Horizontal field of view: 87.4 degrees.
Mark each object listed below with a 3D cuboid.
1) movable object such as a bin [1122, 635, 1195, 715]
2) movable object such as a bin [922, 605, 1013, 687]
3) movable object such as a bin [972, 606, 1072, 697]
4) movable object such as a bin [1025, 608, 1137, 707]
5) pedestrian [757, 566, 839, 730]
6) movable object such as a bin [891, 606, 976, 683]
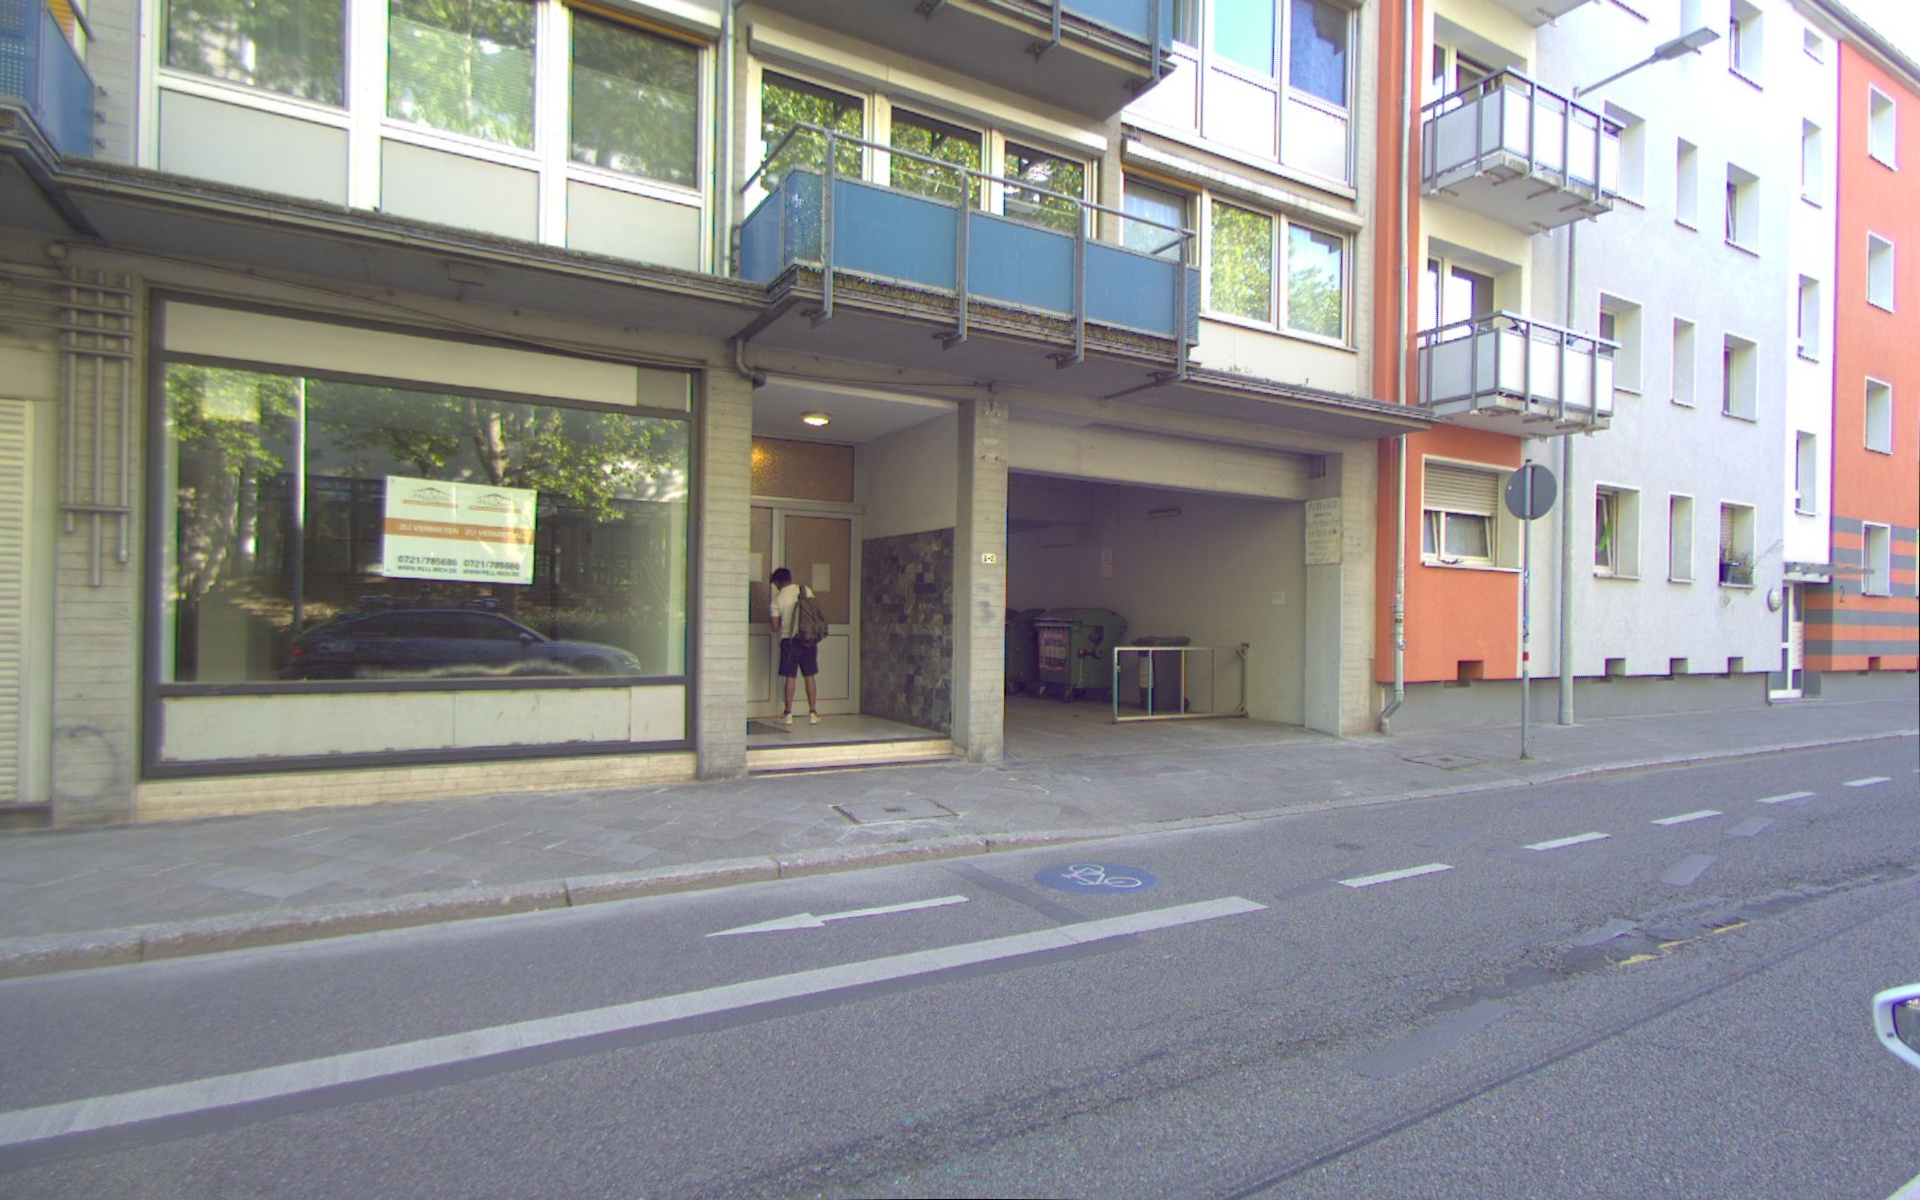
[{"bbox_3d":[2.864,1.068,14.513,0.707,1.089,0.735,2,0,-30],"label":"movable object such as a bin"},{"bbox_3d":[0.134,0.838,18.758,1.182,1.452,1.300,2,0,-30],"label":"movable object such as a bin"},{"bbox_3d":[1.047,0.857,17.183,1.182,1.452,1.300,2,0,-30],"label":"movable object such as a bin"},{"bbox_3d":[1.887,0.875,15.796,1.182,1.452,1.300,2,0,-30],"label":"movable object such as a bin"},{"bbox_3d":[-1.682,0.479,10.374,0.558,1.606,0.919,1,0,-28],"label":"pedestrian"},{"bbox_3d":[-0.534,0.869,19.922,1.182,1.452,1.300,2,0,-30],"label":"movable object such as a bin"}]
